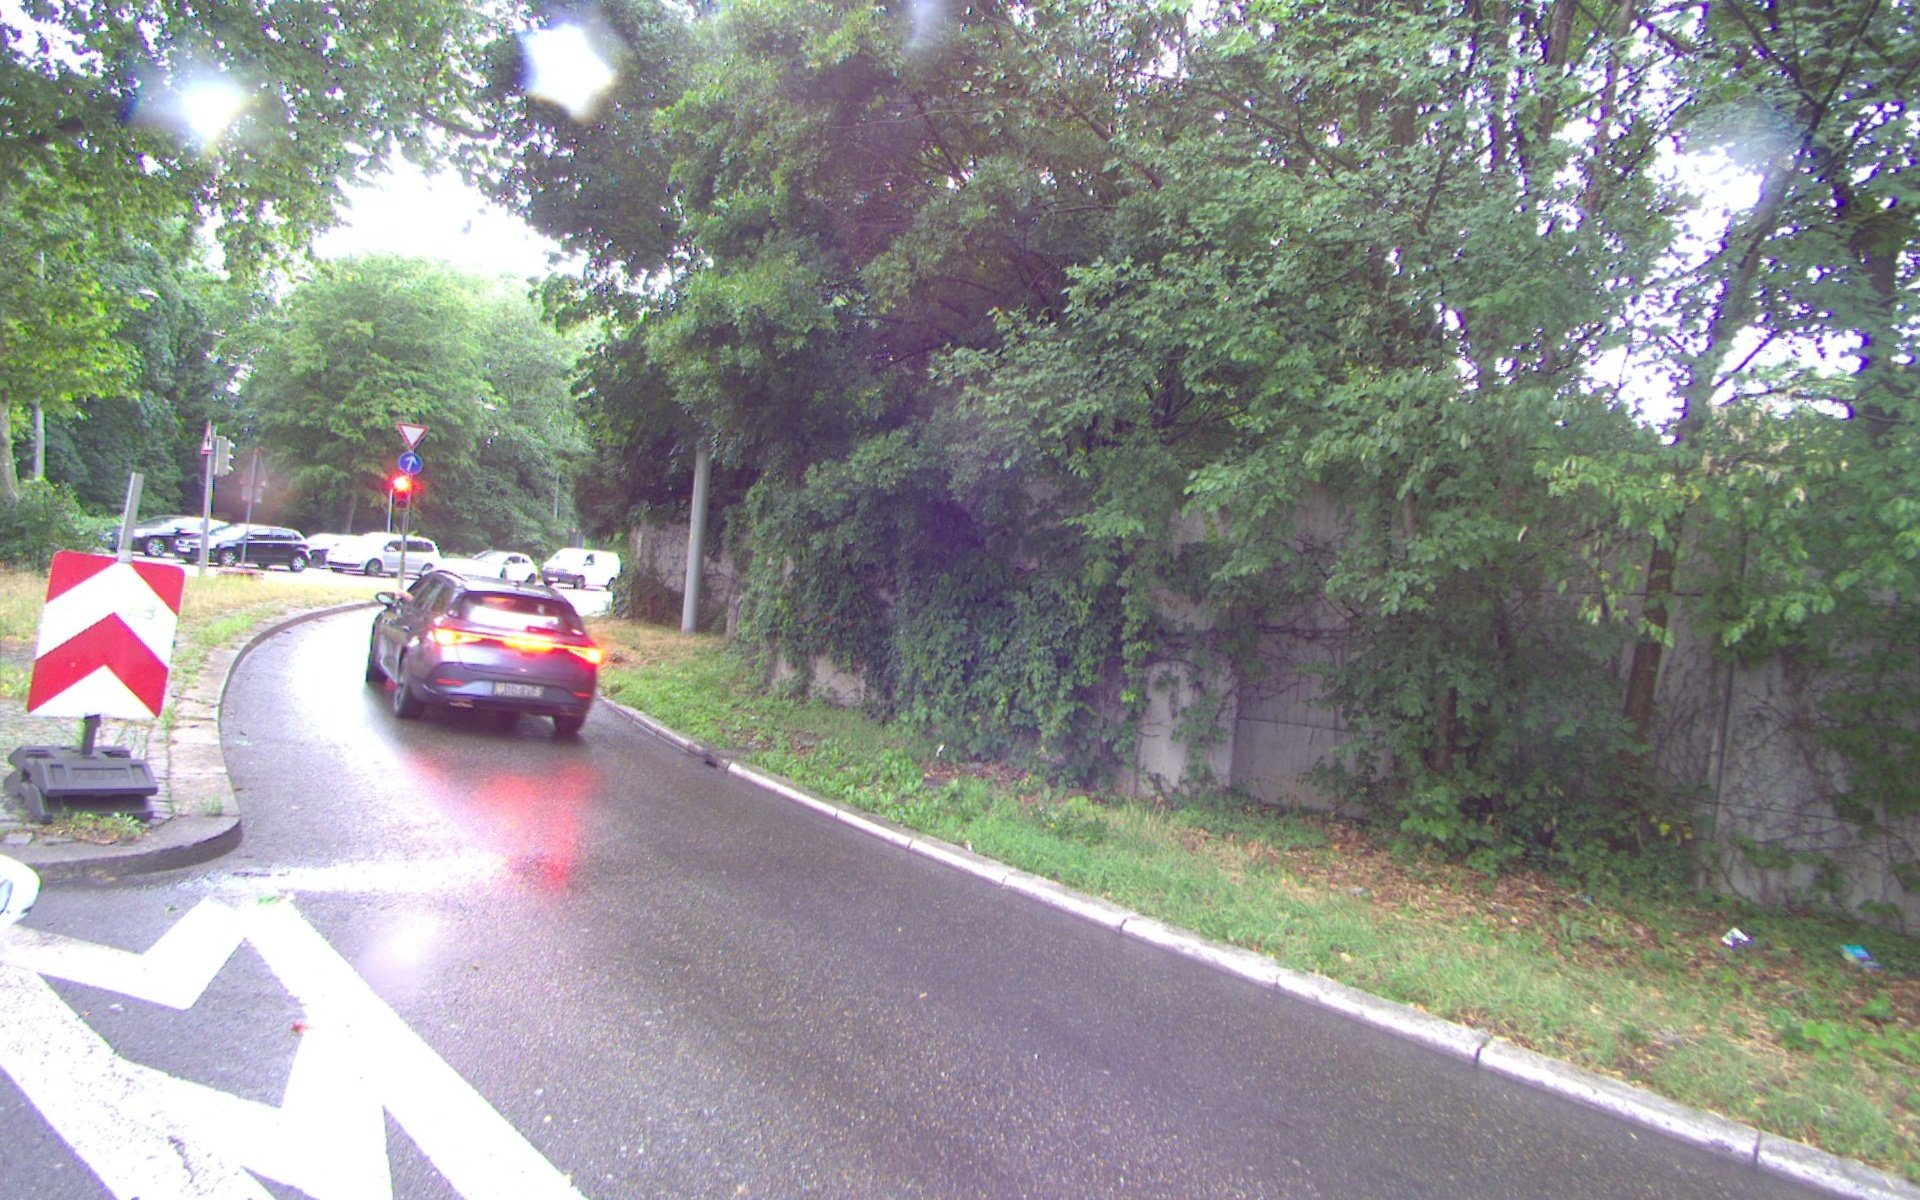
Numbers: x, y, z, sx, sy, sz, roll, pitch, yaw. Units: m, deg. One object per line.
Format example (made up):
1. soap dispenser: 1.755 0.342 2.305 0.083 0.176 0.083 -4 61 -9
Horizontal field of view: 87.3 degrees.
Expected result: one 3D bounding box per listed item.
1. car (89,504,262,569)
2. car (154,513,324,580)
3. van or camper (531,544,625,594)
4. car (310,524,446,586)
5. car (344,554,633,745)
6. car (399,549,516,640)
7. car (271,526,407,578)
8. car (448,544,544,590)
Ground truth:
1. car: -26.644 -2.108 34.356 1.913 1.457 4.218 7 -2 16
2. car: -23.310 -1.692 32.723 1.759 1.477 4.205 7 -2 16
3. van or camper: -19.130 -1.497 50.658 1.870 1.970 4.870 7 -1 12
4. car: -22.071 -1.653 38.338 1.871 1.699 4.216 7 -2 16
5. car: -5.216 0.411 10.770 1.741 1.418 4.368 10 -3 -38
6. car: -10.737 -0.167 21.789 1.837 1.464 4.593 11 -3 -24
7. car: -24.775 -1.875 40.336 1.795 1.418 4.452 7 -2 16
8. car: -20.537 -1.427 44.681 1.627 1.478 3.869 7 -2 16
